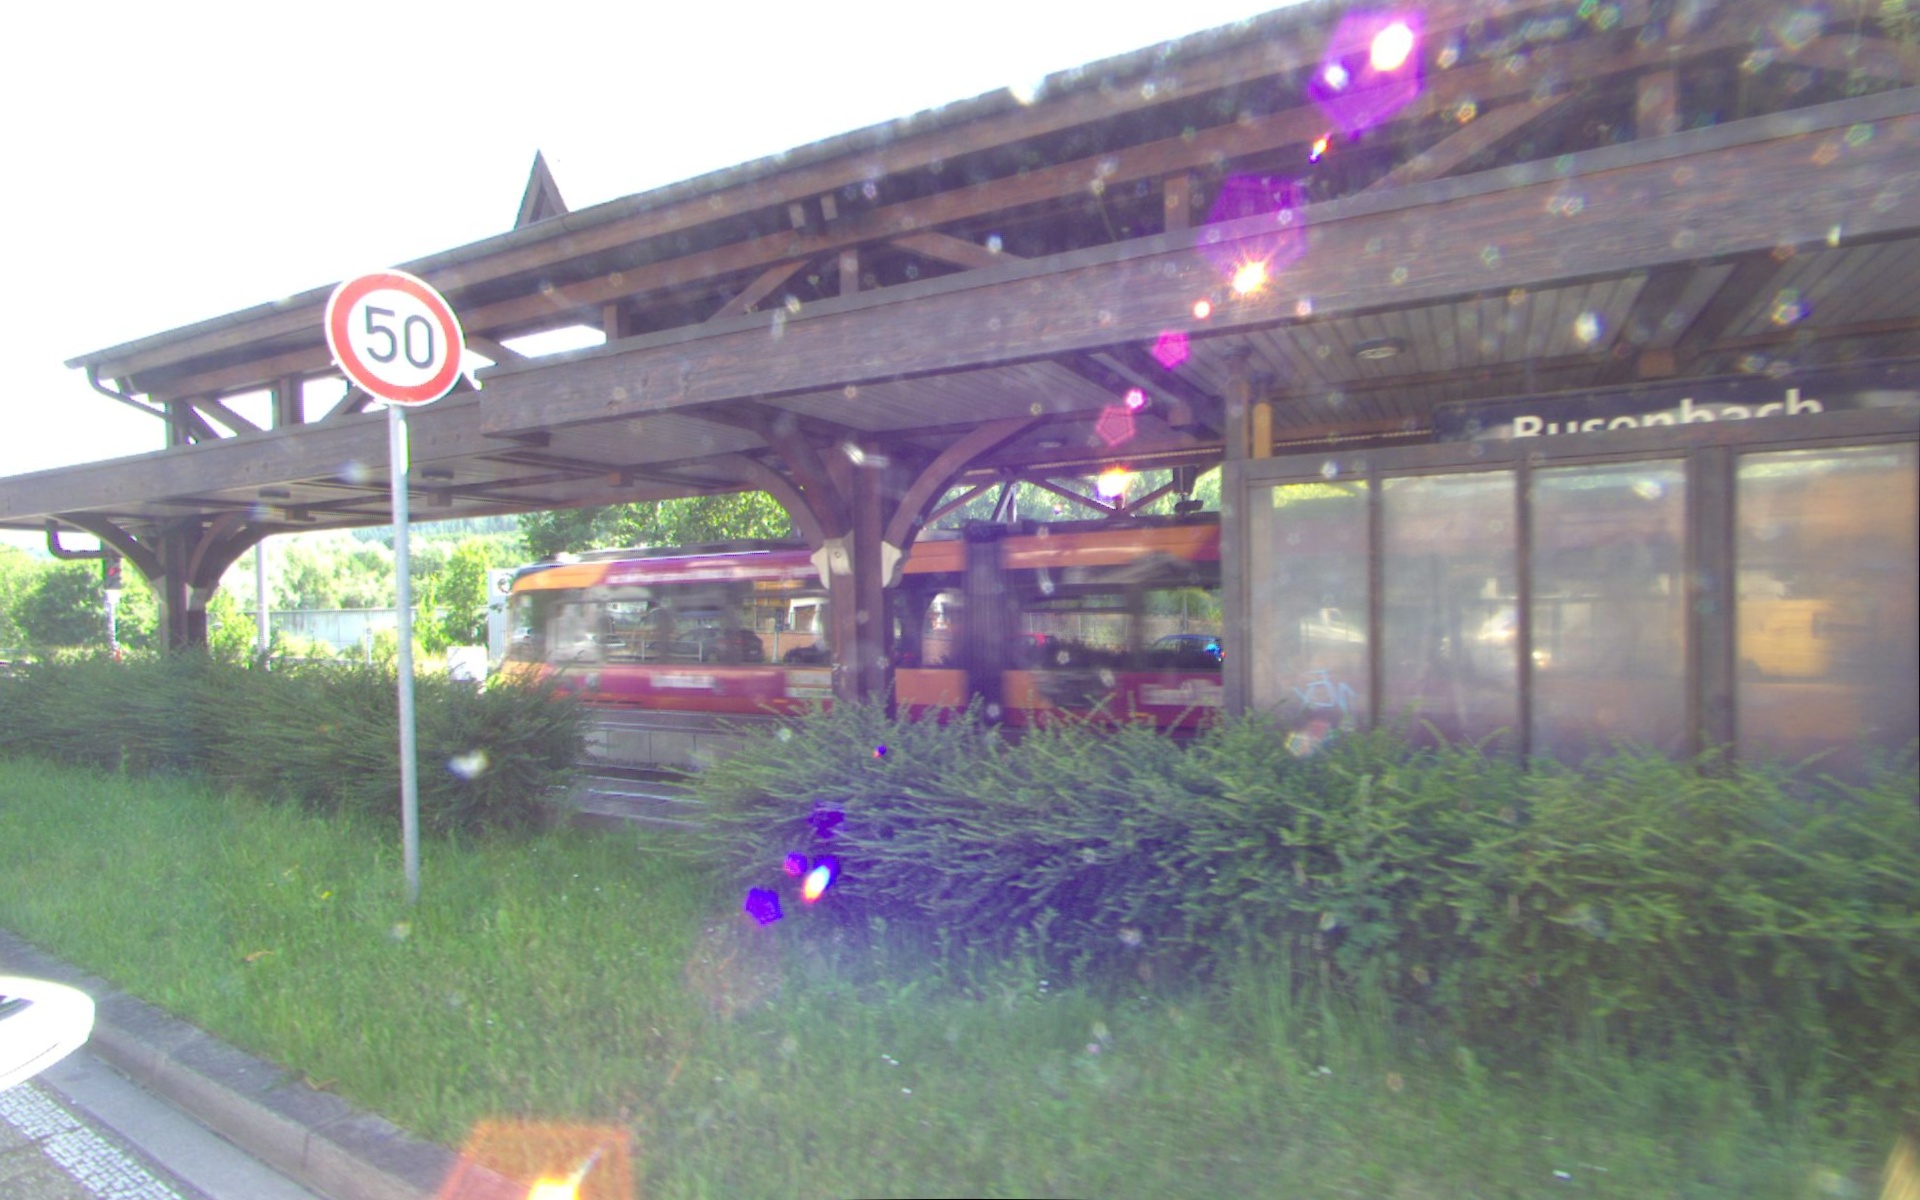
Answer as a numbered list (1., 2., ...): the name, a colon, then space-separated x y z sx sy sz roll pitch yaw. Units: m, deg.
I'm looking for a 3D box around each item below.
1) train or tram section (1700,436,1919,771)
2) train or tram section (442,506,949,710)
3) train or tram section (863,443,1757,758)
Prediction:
1. train or tram section: 15.435 0.019 8.735 14.133 3.408 2.854 -1 -1 29
2. train or tram section: -6.012 0.199 21.003 11.870 3.407 2.753 0 -2 31
3. train or tram section: 4.169 0.163 15.050 11.870 3.406 2.784 -1 -3 31
